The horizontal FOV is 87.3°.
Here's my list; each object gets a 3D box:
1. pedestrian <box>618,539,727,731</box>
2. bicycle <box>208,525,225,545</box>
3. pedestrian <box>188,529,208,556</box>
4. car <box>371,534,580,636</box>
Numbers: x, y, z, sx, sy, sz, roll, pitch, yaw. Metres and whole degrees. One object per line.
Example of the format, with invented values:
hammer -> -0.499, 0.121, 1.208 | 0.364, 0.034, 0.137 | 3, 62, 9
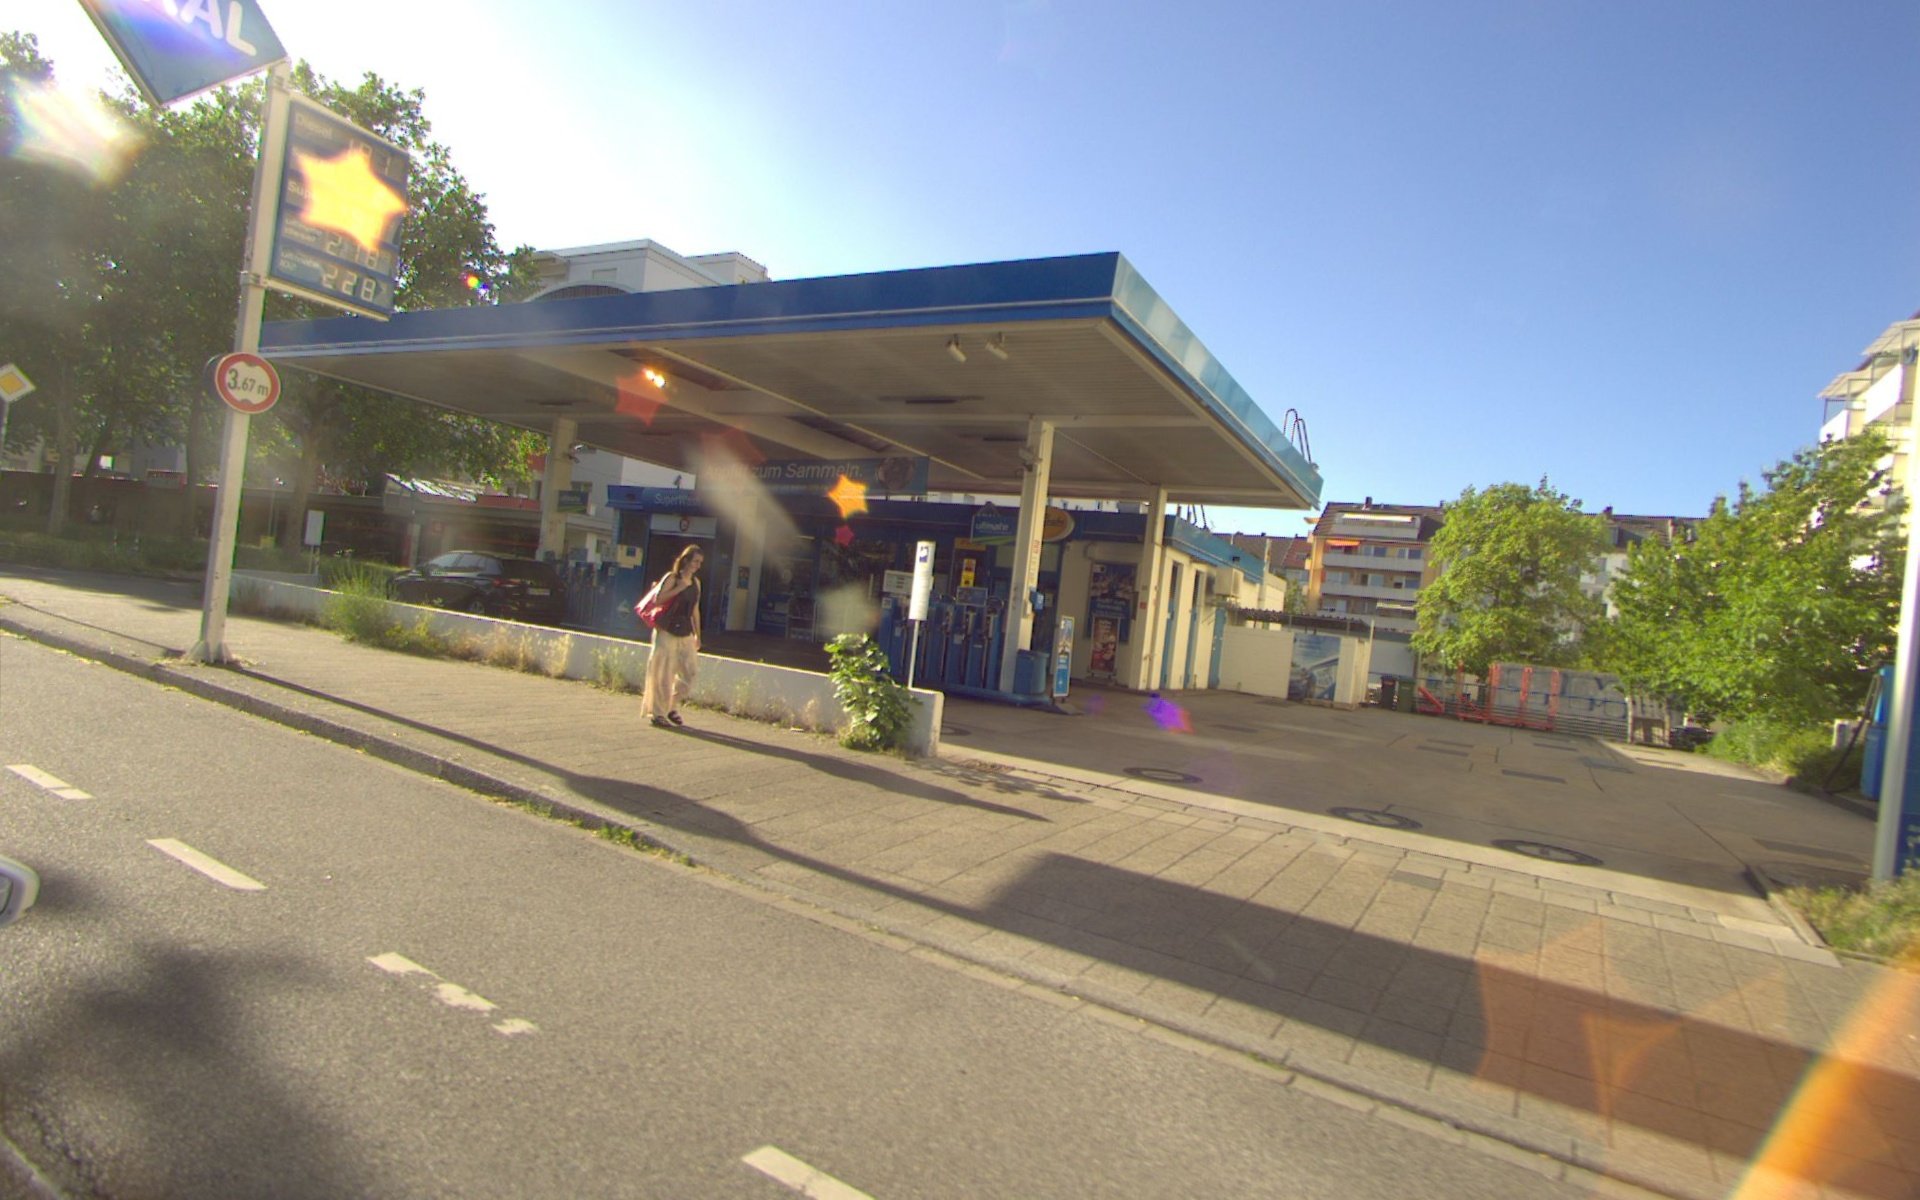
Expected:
pedestrian -> -2.719, 0.333, 9.520 | 0.544, 1.722, 0.604 | 7, 0, 36
bicycle -> -48.627, -4.219, 65.823 | 0.593, 1.193, 1.837 | 8, -1, -30
pedestrian -> -49.615, -3.761, 65.483 | 0.703, 1.604, 0.672 | 8, 1, 26
car -> -9.544, -0.314, 19.751 | 3.939, 1.480, 1.723 | 6, -2, 31
